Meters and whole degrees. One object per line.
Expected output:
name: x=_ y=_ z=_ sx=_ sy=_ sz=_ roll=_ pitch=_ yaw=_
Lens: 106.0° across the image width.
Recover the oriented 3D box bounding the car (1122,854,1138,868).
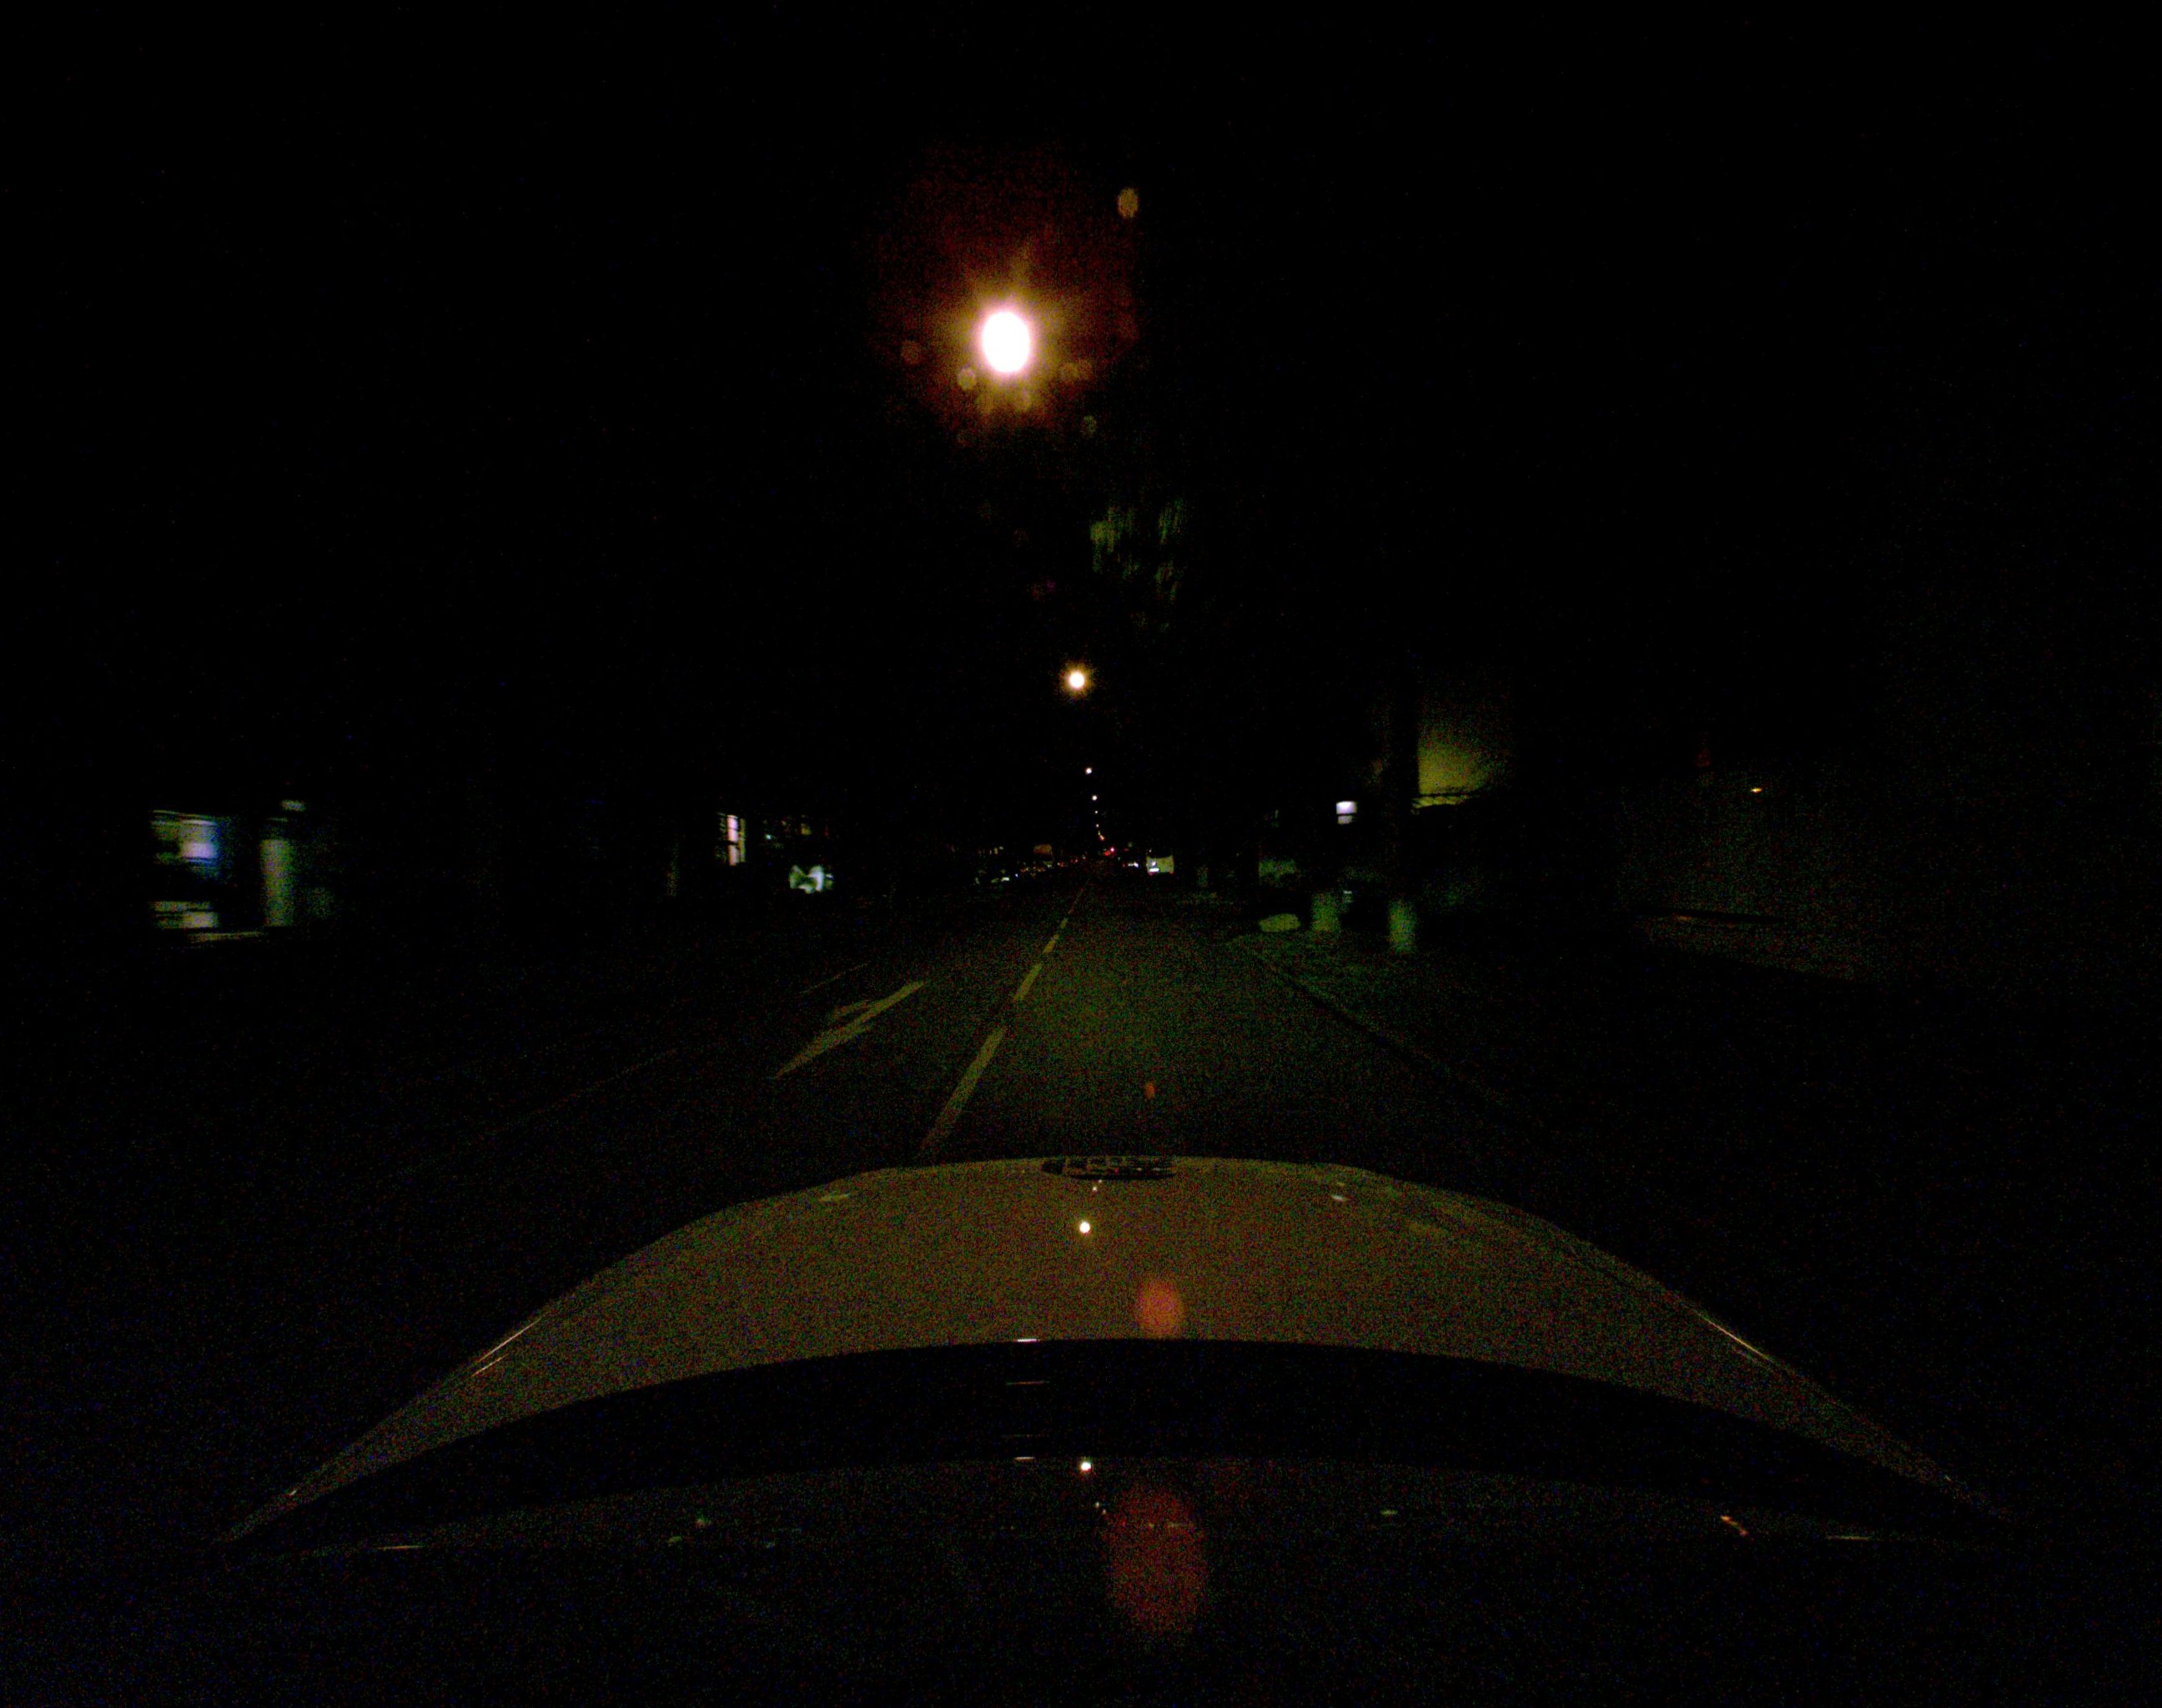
car: x=5.550 y=0.747 z=92.233 sx=1.661 sy=1.429 sz=4.152 roll=-4 pitch=0 yaw=4

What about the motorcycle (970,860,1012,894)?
motorcycle: x=-4.303 y=1.092 z=38.930 sx=1.907 sy=1.550 sz=0.635 roll=0 pitch=-1 yaw=-19

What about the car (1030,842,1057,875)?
car: x=-3.481 y=0.401 z=76.168 sx=2.171 sy=2.909 sz=4.910 roll=-1 pitch=0 yaw=1

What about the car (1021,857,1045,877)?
car: x=-3.792 y=1.044 z=65.127 sx=1.640 sy=1.505 sz=3.860 roll=-1 pitch=-1 yaw=0

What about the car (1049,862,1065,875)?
car: x=-2.887 y=1.768 z=97.862 sx=1.710 sy=1.502 sz=4.206 roll=0 pitch=0 yaw=1

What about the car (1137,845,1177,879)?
car: x=4.622 y=0.464 z=50.052 sx=1.944 sy=1.964 sz=4.603 roll=-2 pitch=0 yaw=0

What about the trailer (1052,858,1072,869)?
trailer: x=-2.438 y=1.194 z=105.605 sx=2.102 sy=1.335 sz=5.438 roll=0 pitch=0 yaw=3

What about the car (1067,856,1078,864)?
car: x=-1.404 y=1.074 z=142.582 sx=1.693 sy=1.433 sz=3.831 roll=1 pitch=0 yaw=3

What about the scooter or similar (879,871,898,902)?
scooter or similar: x=-7.873 y=1.303 z=33.341 sx=0.365 sy=1.204 sz=1.428 roll=-3 pitch=-1 yaw=2

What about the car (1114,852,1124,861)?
car: x=7.610 y=0.431 z=162.862 sx=1.846 sy=1.654 sz=4.211 roll=-2 pitch=0 yaw=2

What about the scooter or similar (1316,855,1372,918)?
scooter or similar: x=5.445 y=0.676 z=16.976 sx=0.545 sy=1.203 sz=1.911 roll=-3 pitch=-3 yaw=2

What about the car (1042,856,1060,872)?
car: x=-3.173 y=1.046 z=87.144 sx=1.736 sy=1.606 sz=4.297 roll=-2 pitch=0 yaw=0

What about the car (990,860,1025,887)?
car: x=-4.286 y=1.137 z=48.078 sx=1.637 sy=1.504 sz=3.904 roll=0 pitch=0 yaw=1

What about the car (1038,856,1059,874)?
car: x=-3.257 y=1.073 z=81.600 sx=1.736 sy=1.606 sz=4.117 roll=-5 pitch=0 yaw=1

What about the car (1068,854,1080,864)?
car: x=-1.245 y=0.914 z=150.298 sx=1.815 sy=1.811 sz=4.213 roll=1 pitch=0 yaw=3

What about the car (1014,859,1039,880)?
car: x=-3.948 y=1.135 z=59.177 sx=1.542 sy=1.455 sz=3.368 roll=0 pitch=0 yaw=1

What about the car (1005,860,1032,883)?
car: x=-4.048 y=1.135 z=53.323 sx=1.440 sy=1.429 sz=3.904 roll=0 pitch=0 yaw=1
